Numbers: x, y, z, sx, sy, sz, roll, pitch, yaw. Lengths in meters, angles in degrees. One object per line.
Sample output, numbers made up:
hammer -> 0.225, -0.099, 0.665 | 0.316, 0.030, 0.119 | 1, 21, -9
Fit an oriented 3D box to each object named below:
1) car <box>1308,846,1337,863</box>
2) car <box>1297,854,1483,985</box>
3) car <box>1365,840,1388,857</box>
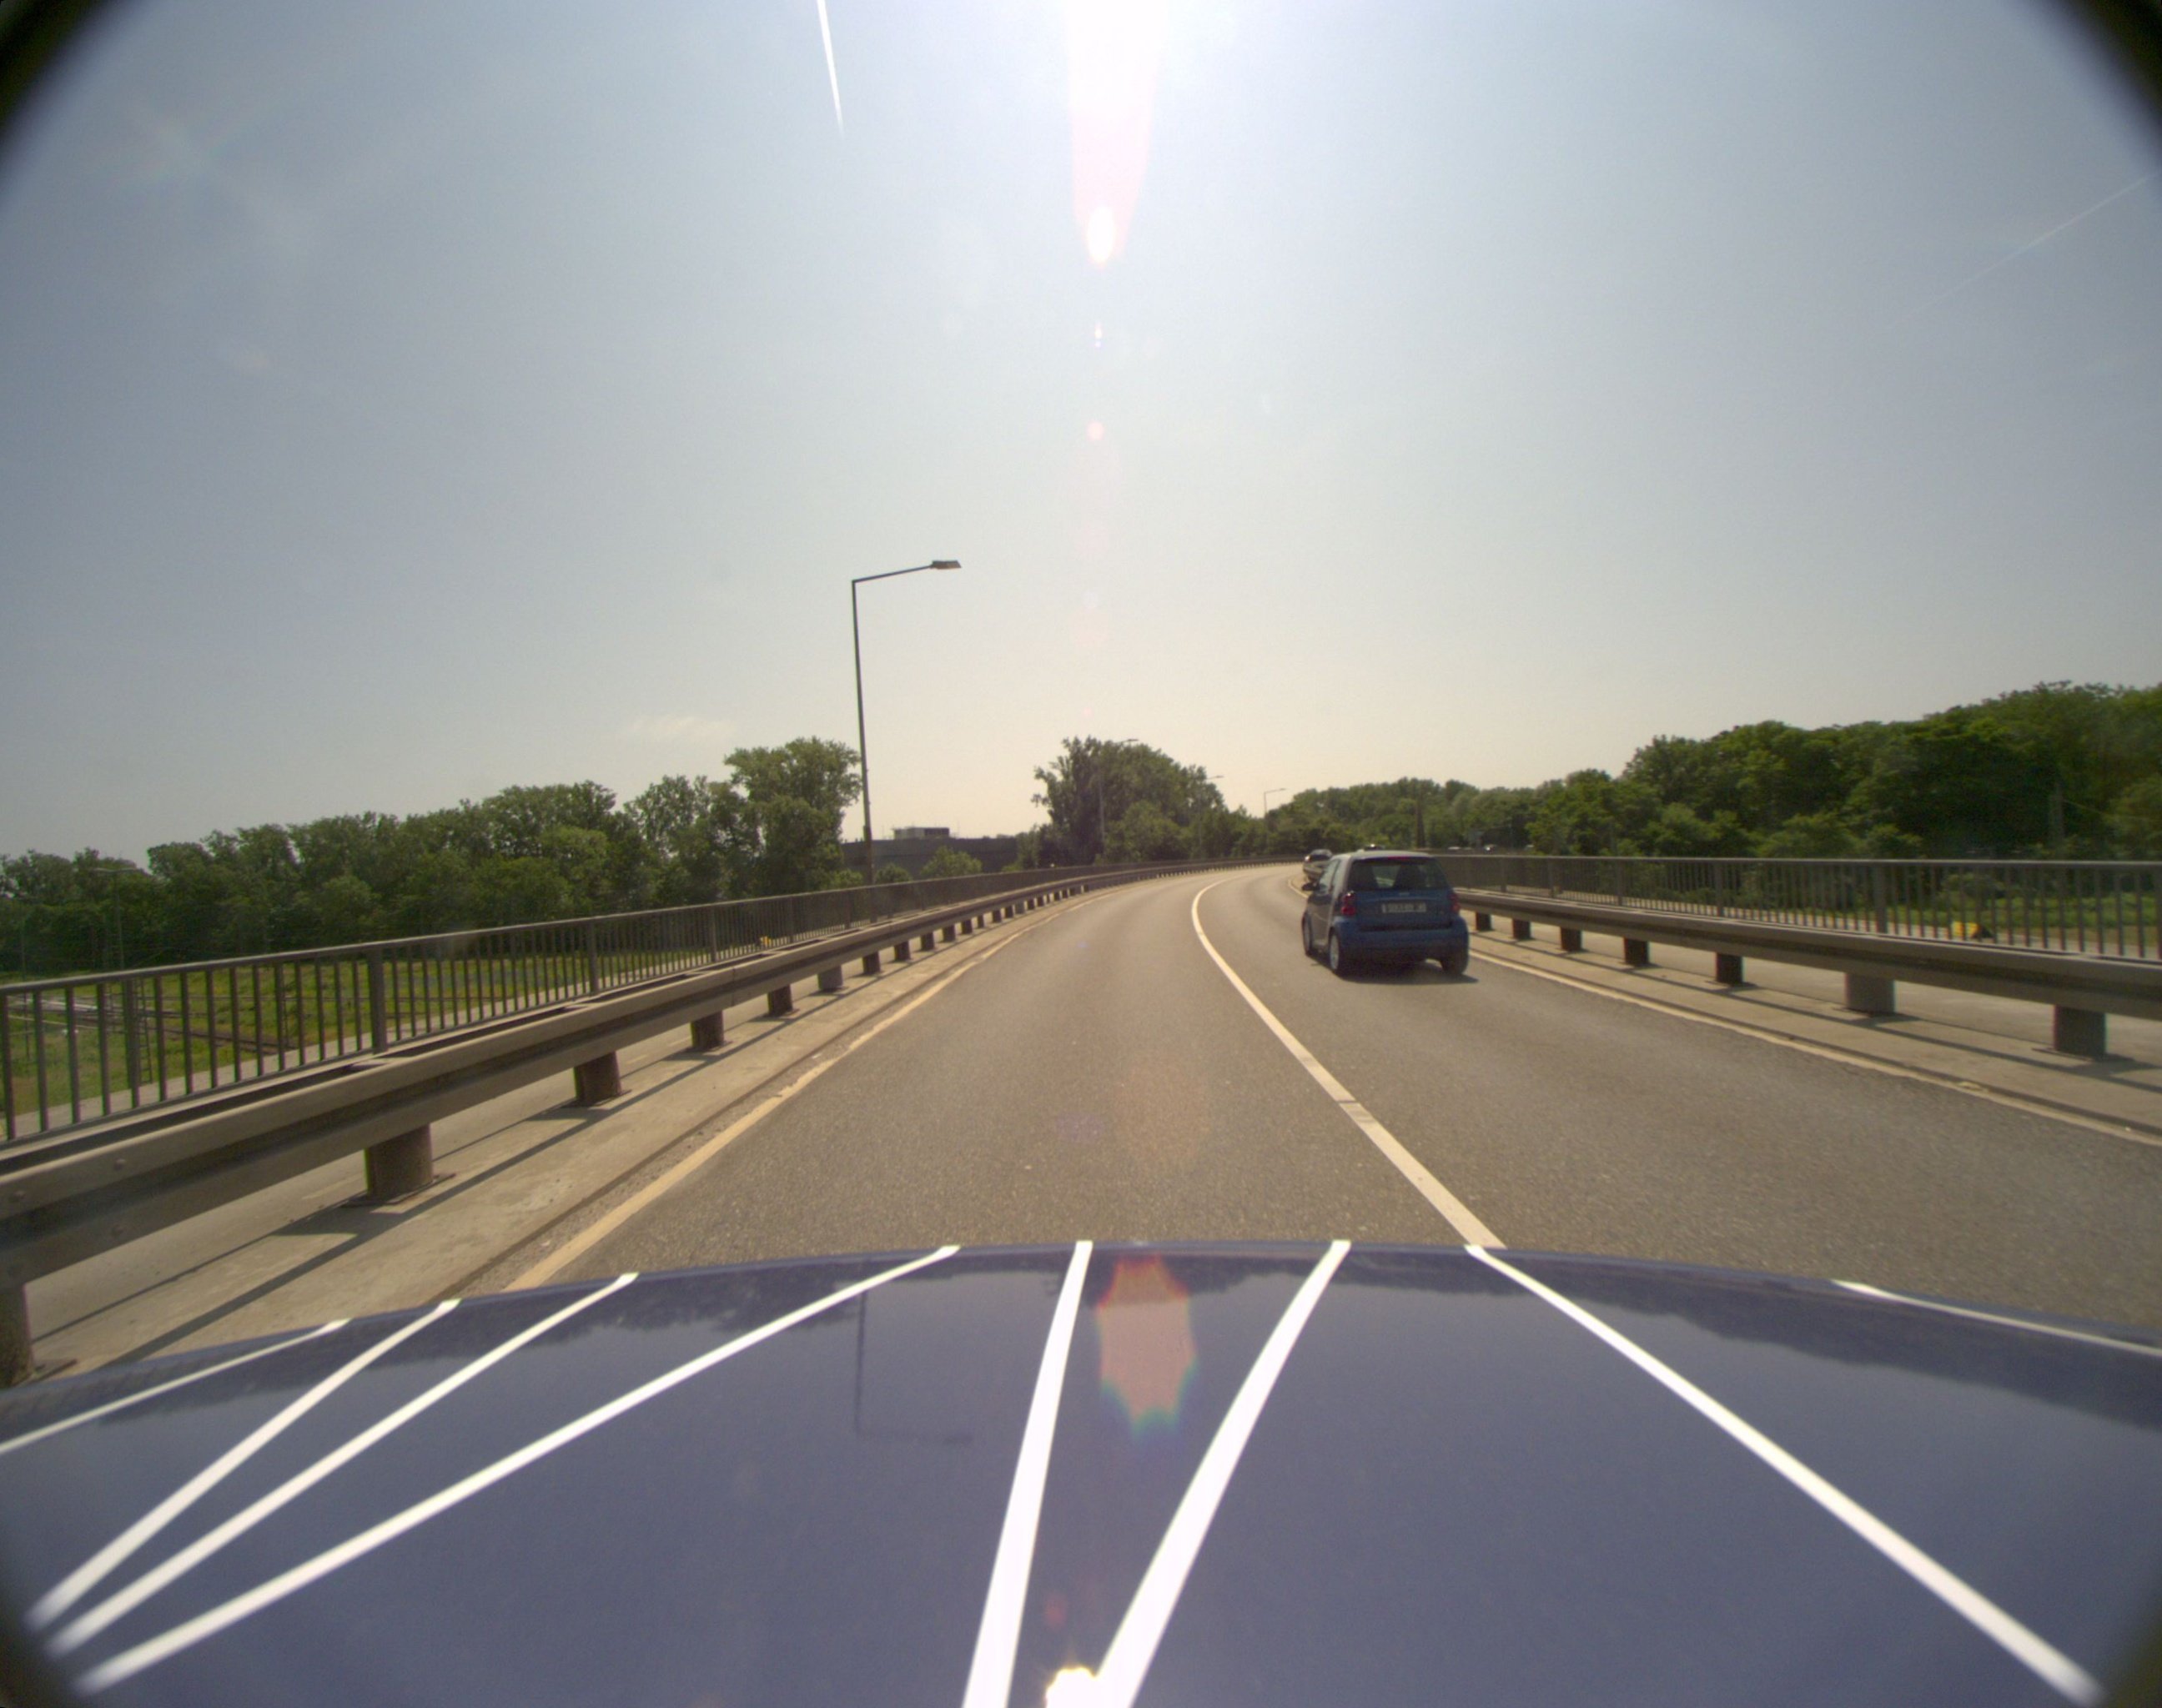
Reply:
car -> 23.463, 0.033, 73.834 | 1.894, 1.586, 4.495 | -2, -1, 27
car -> 3.965, 0.783, 10.183 | 1.600, 1.477, 2.749 | -2, -1, 7
car -> 36.343, -0.746, 93.383 | 2.008, 1.947, 5.280 | -1, 1, 27
